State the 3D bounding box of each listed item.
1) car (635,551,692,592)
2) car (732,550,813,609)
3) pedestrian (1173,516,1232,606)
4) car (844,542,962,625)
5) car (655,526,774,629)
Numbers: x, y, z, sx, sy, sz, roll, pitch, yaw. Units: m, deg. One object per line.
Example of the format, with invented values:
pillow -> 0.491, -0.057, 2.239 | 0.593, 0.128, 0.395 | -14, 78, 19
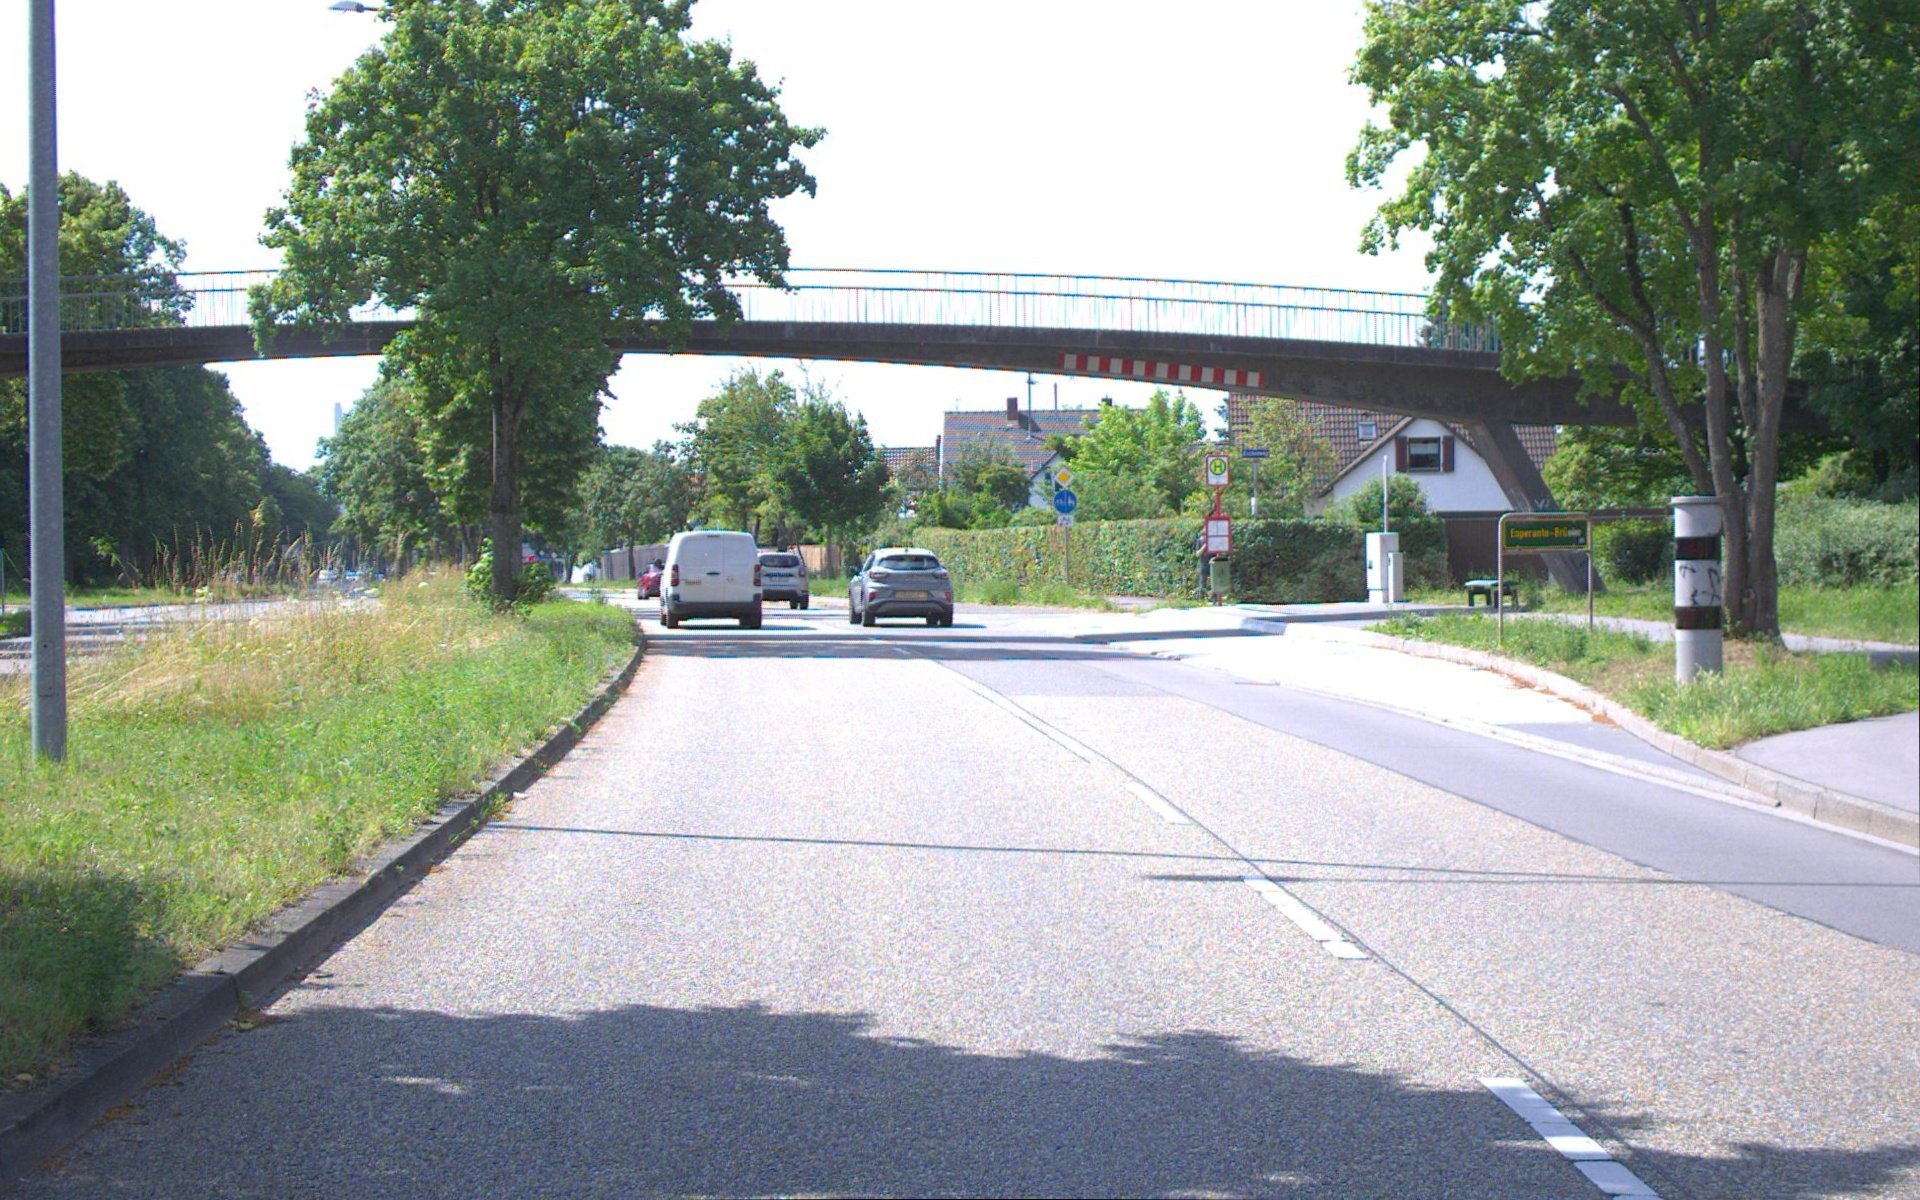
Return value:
car -> -11.693, -1.123, 135.460 | 1.880, 1.582, 4.001 | 0, 1, -10
car -> -5.400, -0.597, 98.368 | 1.874, 1.646, 4.001 | -1, 0, -9
pedestrian -> 5.091, -0.820, 72.205 | 0.954, 1.818, 1.088 | -2, -1, -7
car -> -1.169, -0.338, 68.061 | 1.875, 1.583, 4.185 | -1, 0, -7
car -> -4.731, -0.445, 65.805 | 2.065, 1.905, 4.647 | 0, 1, -6
